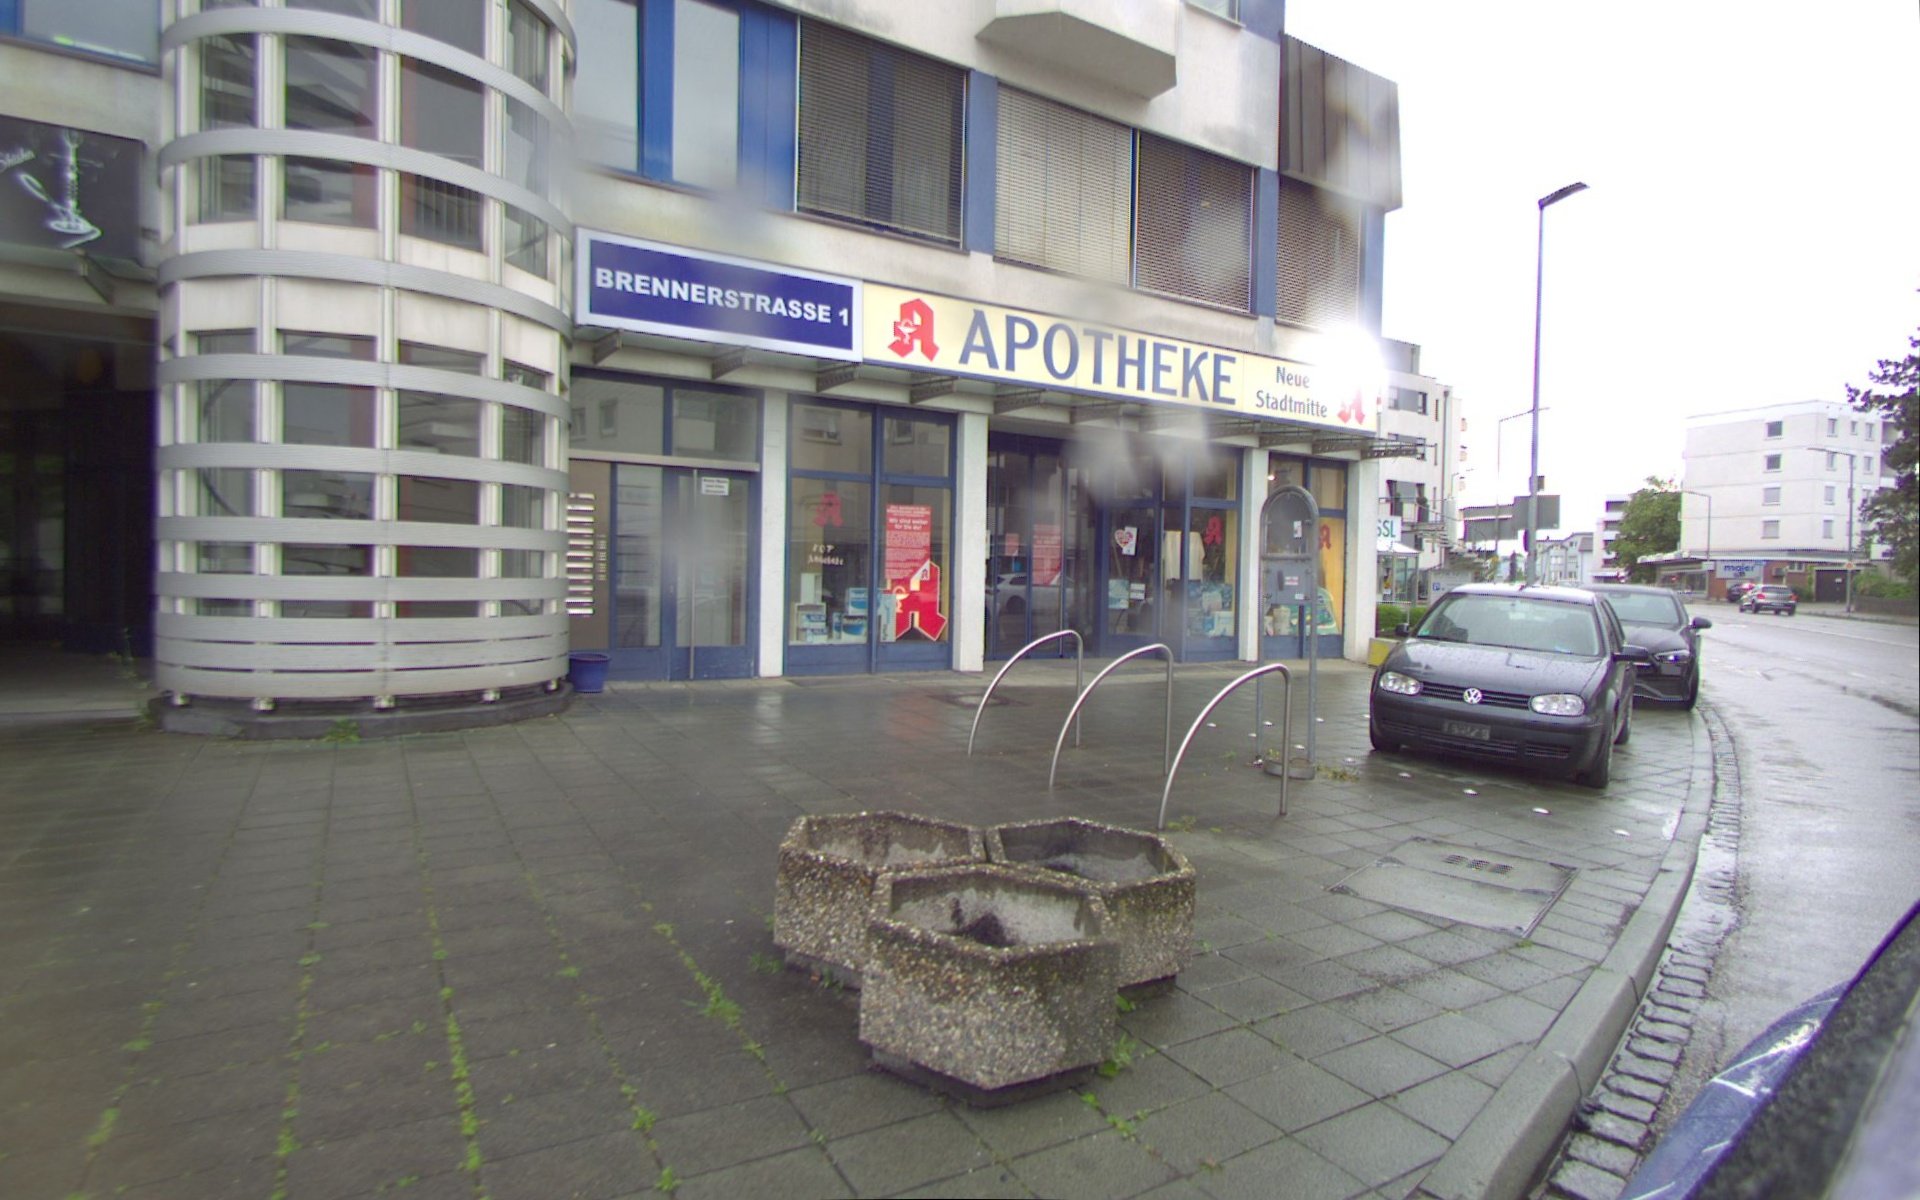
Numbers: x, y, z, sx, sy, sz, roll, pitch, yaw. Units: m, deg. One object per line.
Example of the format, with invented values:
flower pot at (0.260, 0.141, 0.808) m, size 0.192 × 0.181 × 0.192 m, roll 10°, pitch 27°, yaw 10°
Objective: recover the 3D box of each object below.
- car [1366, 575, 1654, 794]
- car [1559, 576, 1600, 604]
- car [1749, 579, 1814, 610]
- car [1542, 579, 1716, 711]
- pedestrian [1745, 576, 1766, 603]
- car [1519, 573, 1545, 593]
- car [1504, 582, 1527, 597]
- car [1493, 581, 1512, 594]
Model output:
car at (4.906, 0.531, 8.777) m, size 1.647 × 1.388 × 3.682 m, roll 5°, pitch 3°, yaw 36°
car at (35.055, -0.589, 57.337) m, size 1.719 × 1.462 × 4.008 m, roll 1°, pitch 2°, yaw 28°
car at (41.176, -0.325, 50.822) m, size 1.856 × 1.454 × 3.703 m, roll 2°, pitch 2°, yaw 29°
car at (8.894, 0.464, 13.344) m, size 1.650 × 1.442 × 3.947 m, roll 2°, pitch 2°, yaw 36°
pedestrian at (53.727, -0.719, 68.360) m, size 0.845 × 1.757 × 0.831 m, roll 1°, pitch 2°, yaw 20°
car at (47.686, -1.407, 84.464) m, size 1.719 × 1.547 × 4.023 m, roll 2°, pitch 1°, yaw 28°
car at (57.409, -1.066, 104.622) m, size 1.783 × 1.385 × 3.940 m, roll 1°, pitch 2°, yaw 25°
car at (68.135, -1.596, 127.013) m, size 1.983 × 1.635 × 3.958 m, roll 0°, pitch 0°, yaw 30°
